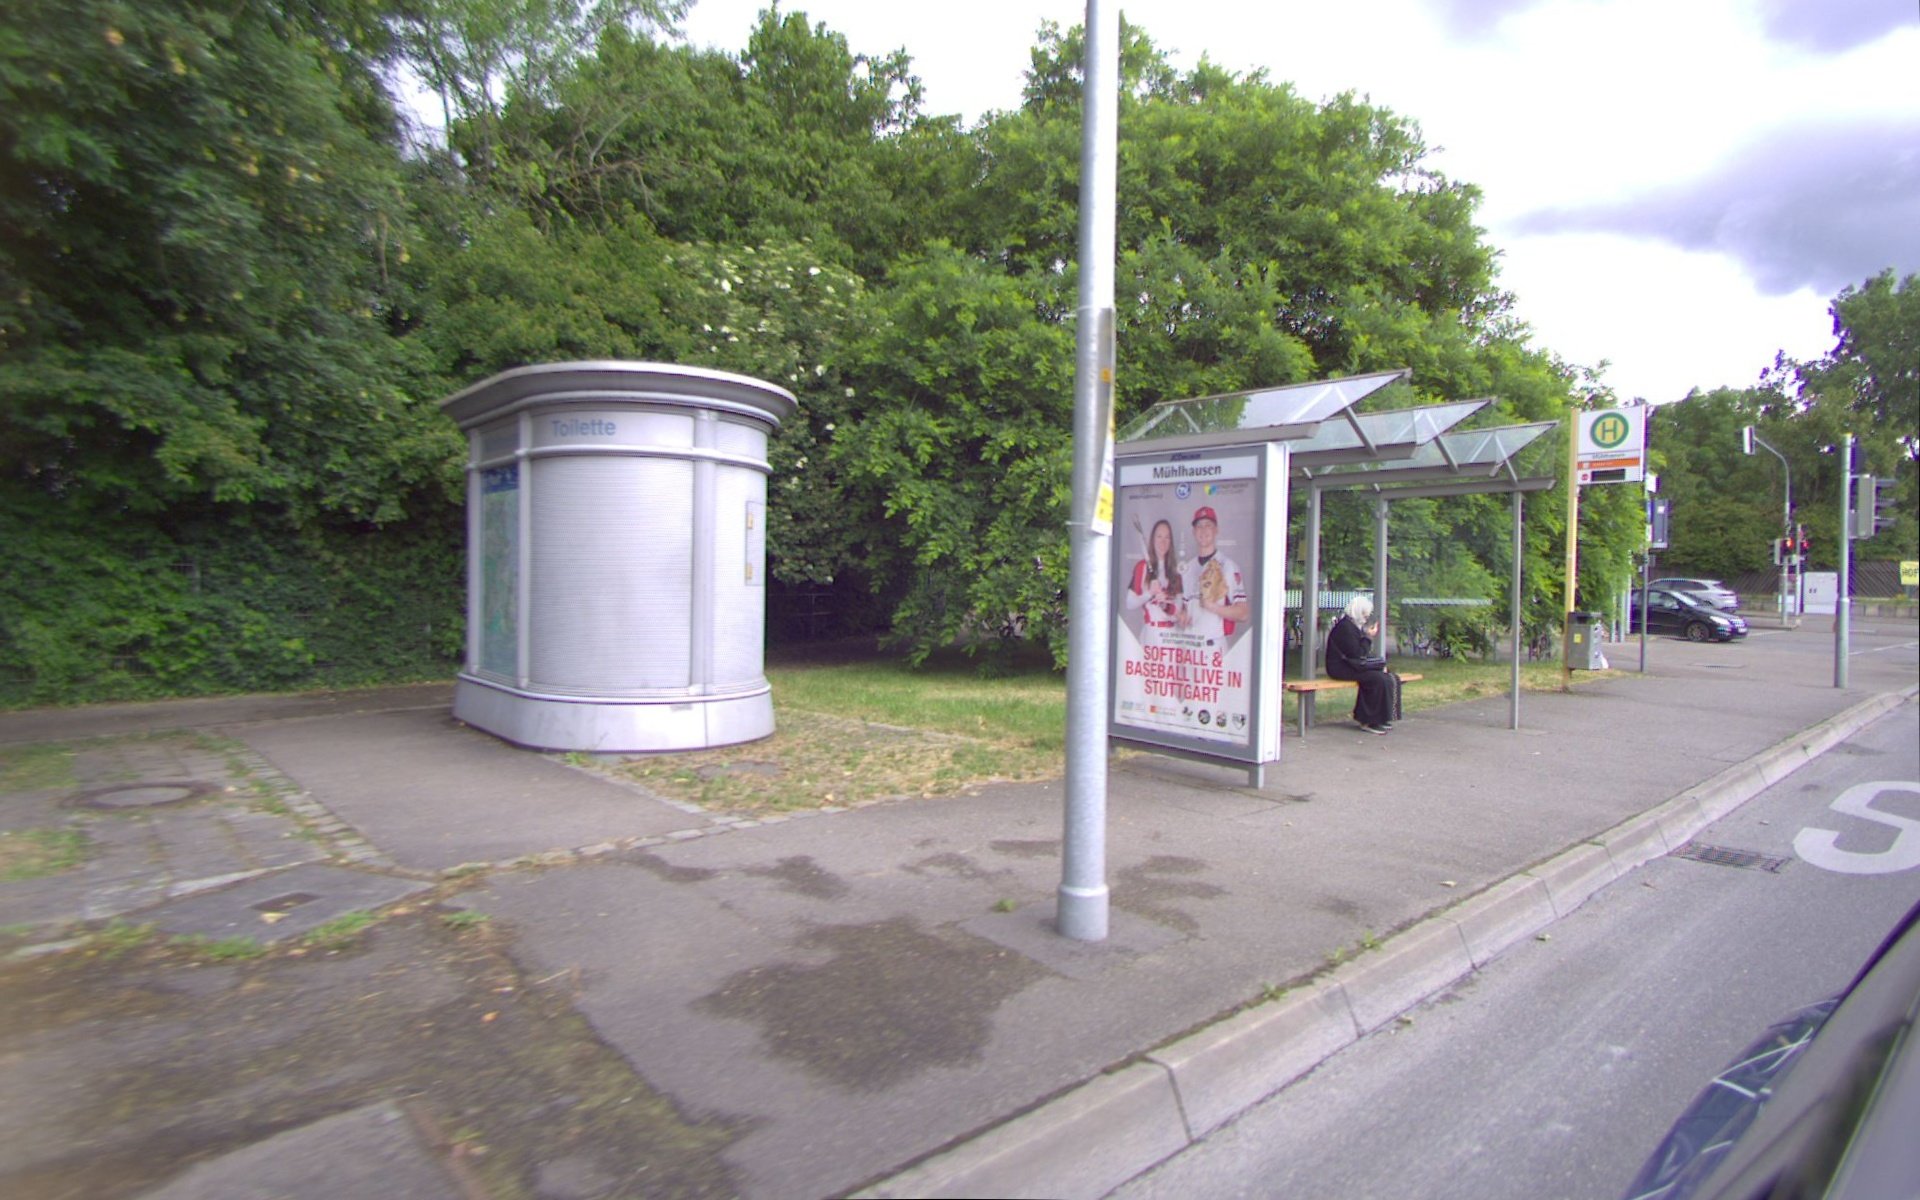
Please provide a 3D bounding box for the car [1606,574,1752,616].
[{"bbox_3d":[30.419,-0.226,42.949,1.648,1.663,4.845,1,0,-43],"label":"car"}]

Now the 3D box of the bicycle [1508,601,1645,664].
[{"bbox_3d":[10.248,0.513,16.873,0.535,0.936,1.871,0,2,-40],"label":"bicycle"}]

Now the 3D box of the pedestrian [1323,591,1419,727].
[{"bbox_3d":[3.774,0.520,9.304,0.537,1.172,0.602,0,3,-41],"label":"pedestrian"}]

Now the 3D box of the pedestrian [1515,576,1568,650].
[{"bbox_3d":[12.506,0.266,21.770,0.659,1.532,0.754,-1,3,-41],"label":"pedestrian"}]

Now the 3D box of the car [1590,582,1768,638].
[{"bbox_3d":[22.226,0.237,31.447,1.687,1.550,4.192,-1,2,-29],"label":"car"}]

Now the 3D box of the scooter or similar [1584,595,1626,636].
[{"bbox_3d":[18.528,0.445,29.062,1.209,1.126,0.654,0,2,-39],"label":"scooter or similar"}]

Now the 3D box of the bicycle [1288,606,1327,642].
[{"bbox_3d":[12.071,0.807,35.133,0.580,1.129,1.787,4,4,41],"label":"bicycle"}]

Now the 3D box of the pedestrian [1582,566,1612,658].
[{"bbox_3d":[12.474,0.218,19.840,0.415,1.775,0.684,0,1,26],"label":"pedestrian"}]

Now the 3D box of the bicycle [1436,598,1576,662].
[{"bbox_3d":[8.842,0.460,16.482,0.579,0.951,2.047,0,1,-27],"label":"bicycle"}]

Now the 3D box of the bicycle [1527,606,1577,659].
[{"bbox_3d":[11.152,0.591,19.034,0.522,0.917,1.826,3,1,39],"label":"bicycle"}]

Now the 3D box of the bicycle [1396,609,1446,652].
[{"bbox_3d":[9.405,0.602,20.637,0.476,0.818,1.491,0,0,43],"label":"bicycle"}]

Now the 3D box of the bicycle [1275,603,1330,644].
[{"bbox_3d":[7.589,0.503,22.398,0.476,0.867,1.711,0,0,43],"label":"bicycle"}]
